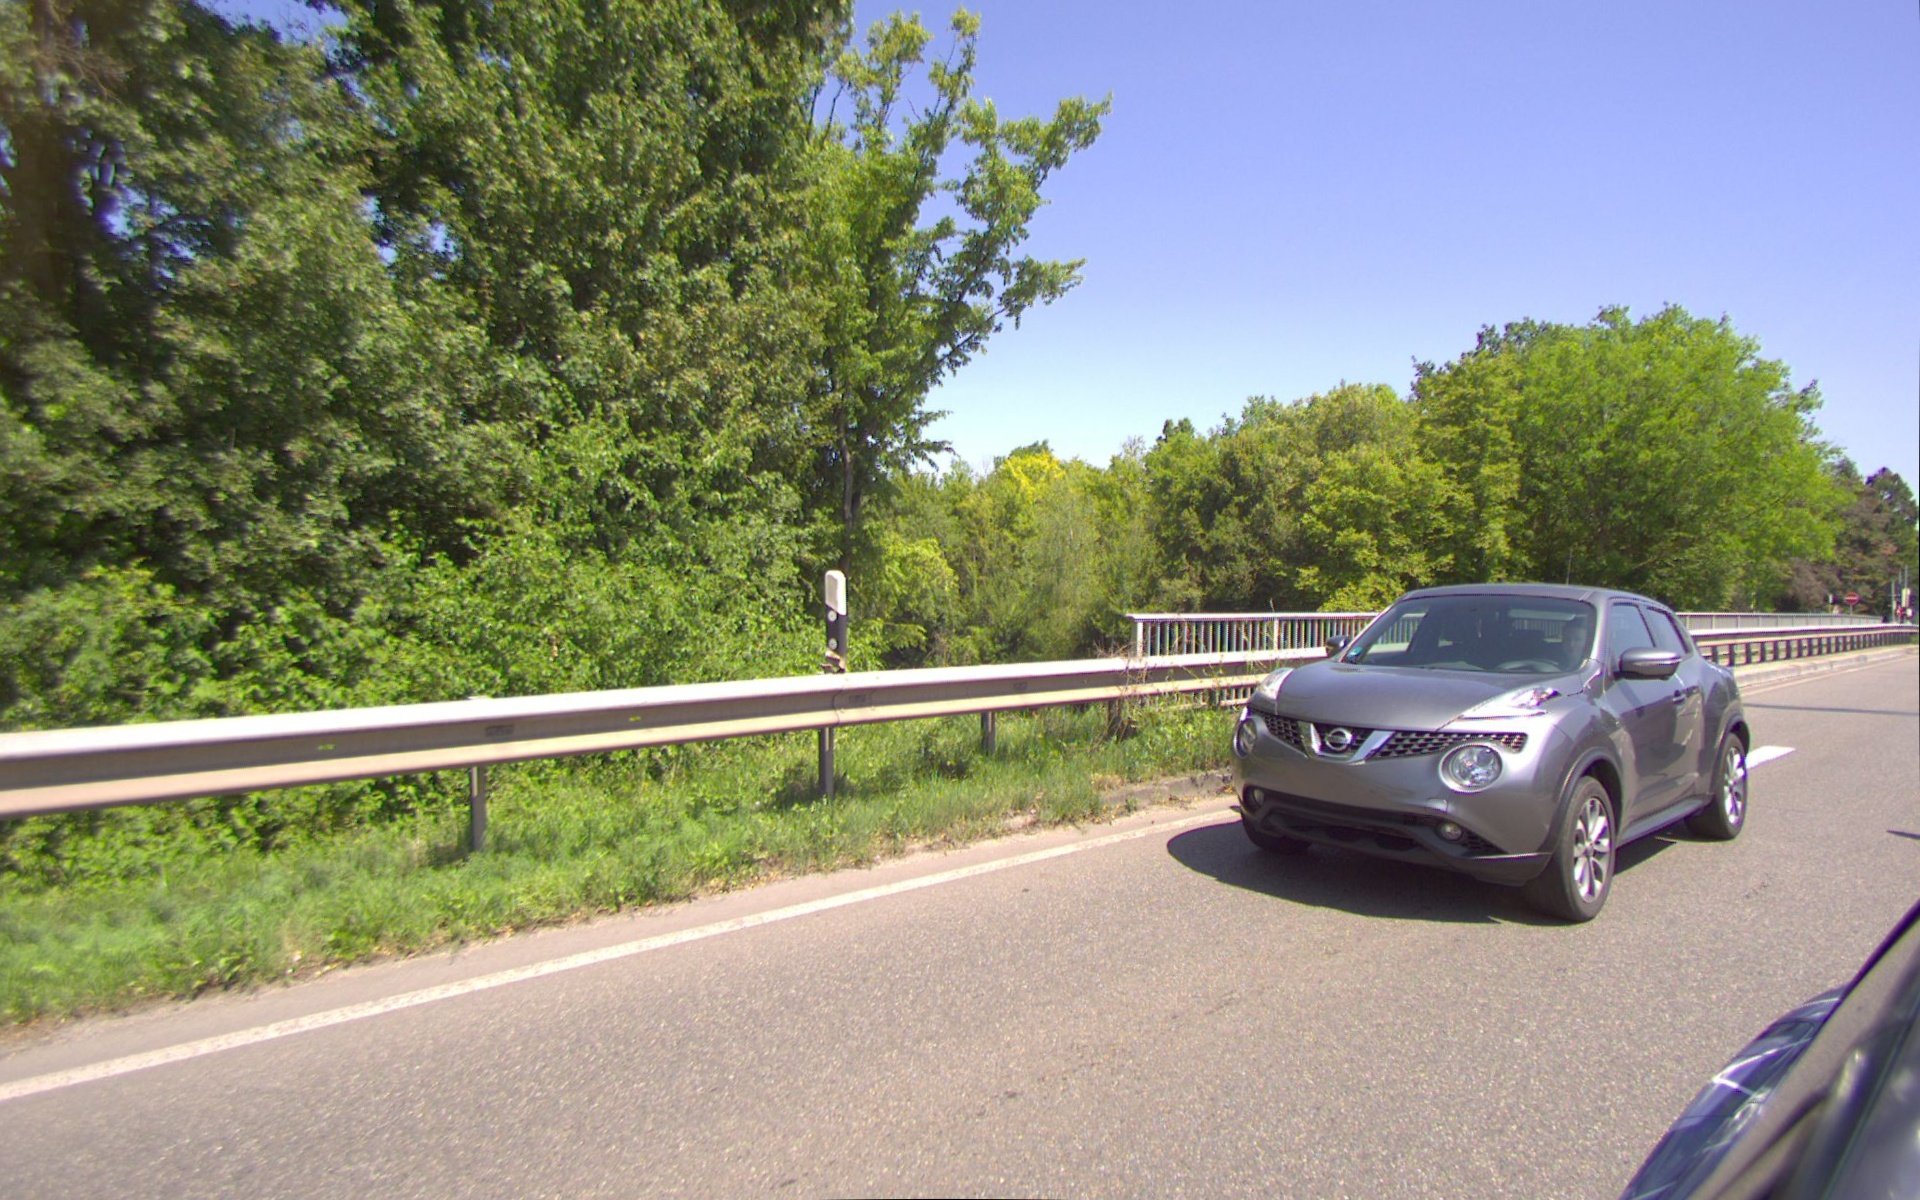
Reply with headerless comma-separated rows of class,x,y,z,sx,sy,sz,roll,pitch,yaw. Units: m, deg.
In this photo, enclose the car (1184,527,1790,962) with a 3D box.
car,3.274,0.547,5.958,3.930,1.706,1.847,0,1,-41
